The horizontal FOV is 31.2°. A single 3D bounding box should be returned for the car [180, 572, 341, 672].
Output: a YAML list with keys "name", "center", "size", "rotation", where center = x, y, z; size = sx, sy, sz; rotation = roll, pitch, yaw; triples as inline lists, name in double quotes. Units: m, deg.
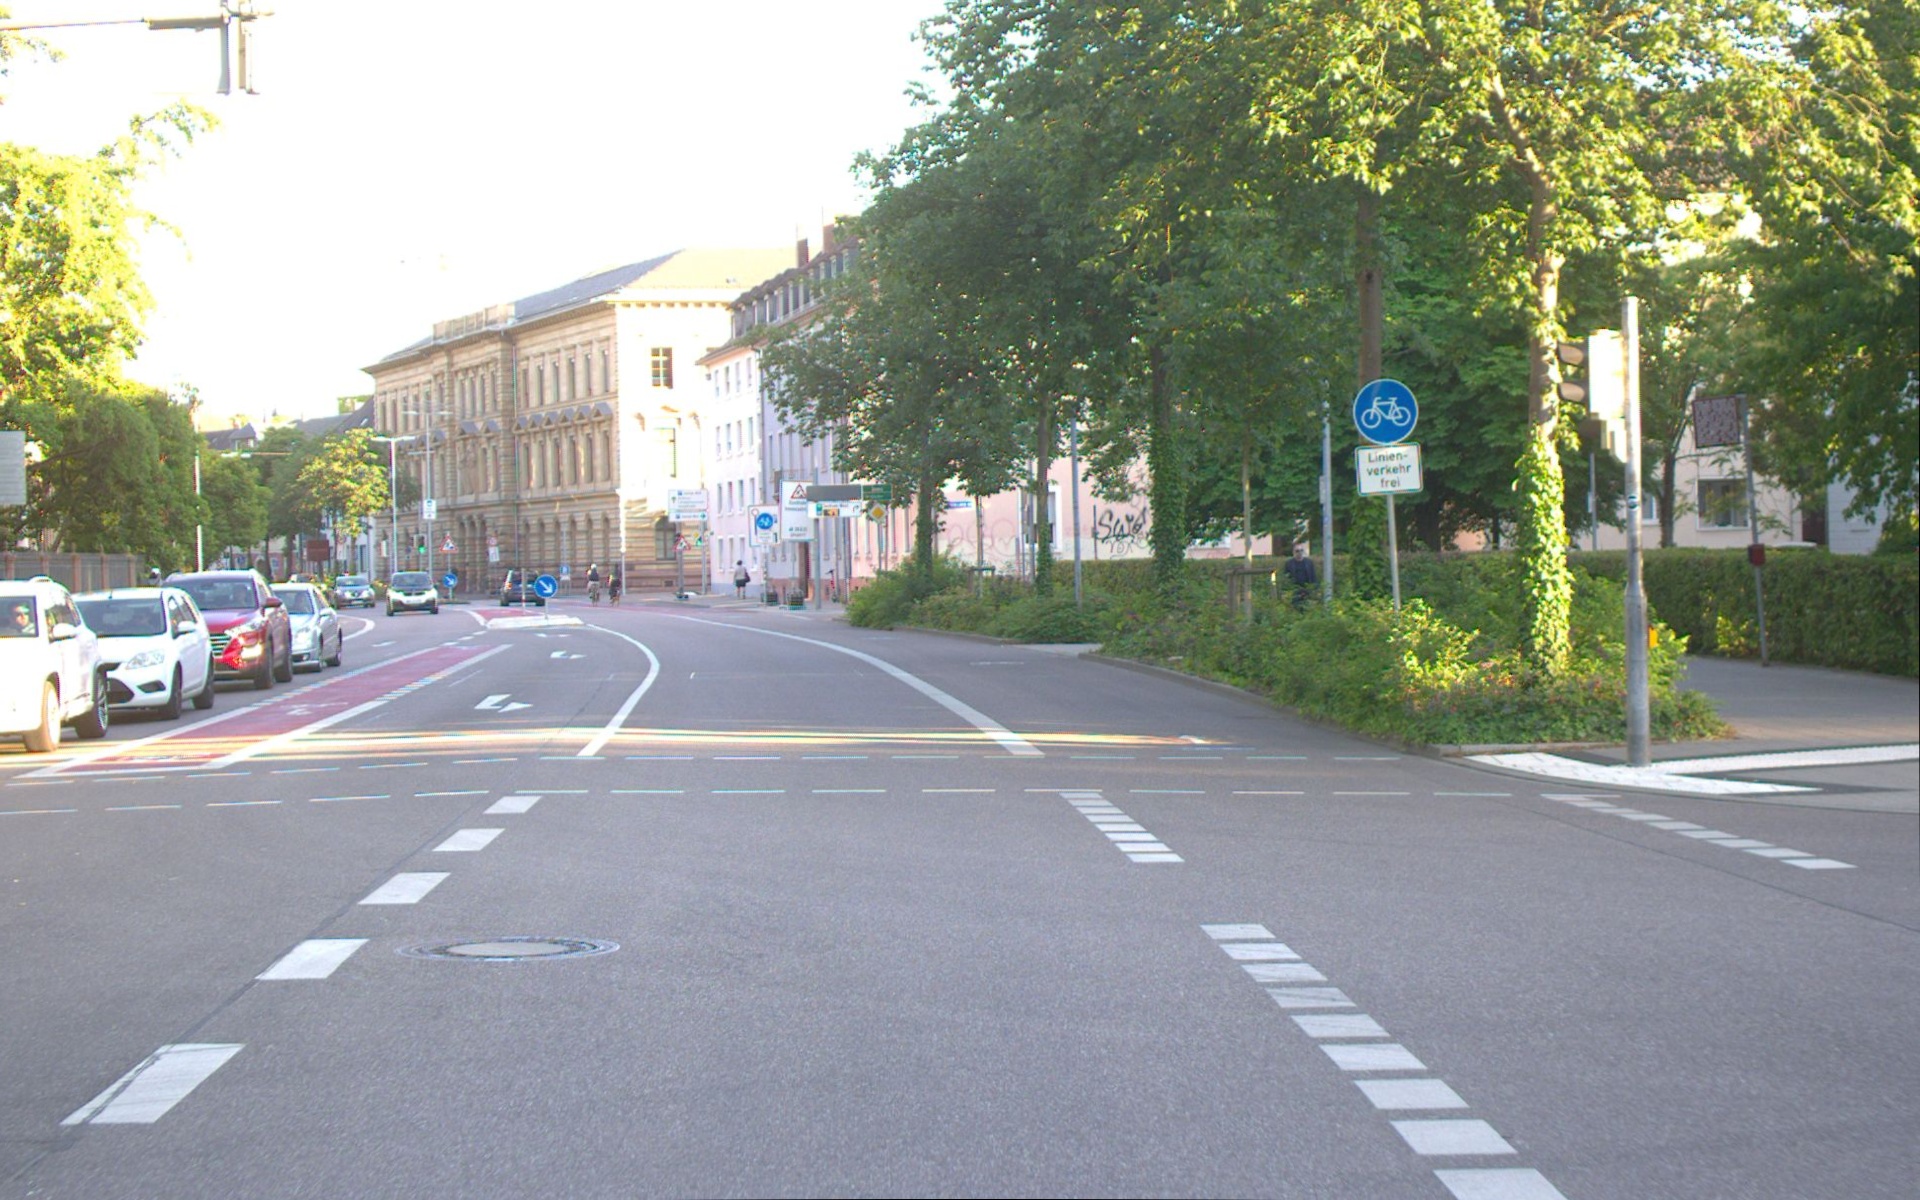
- name: "car"
  center: [-11.126, 0.313, 54.988]
  size: [1.916, 1.413, 4.771]
  rotation: [-3, 1, -5]

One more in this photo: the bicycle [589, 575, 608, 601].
- name: "bicycle"
  center: [-14.743, -0.502, 140.246]
  size: [0.652, 1.012, 2.198]
  rotation: [1, 0, -9]

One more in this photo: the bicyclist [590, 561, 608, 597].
- name: "bicyclist"
  center: [-14.727, -0.851, 140.215]
  size: [0.652, 1.441, 0.879]
  rotation: [1, 0, -9]

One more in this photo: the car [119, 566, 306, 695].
- name: "car"
  center: [-10.487, 0.391, 48.512]
  size: [1.916, 1.619, 4.640]
  rotation: [-3, 1, -5]

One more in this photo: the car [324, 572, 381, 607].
- name: "car"
  center: [-26.894, -0.442, 152.106]
  size: [1.835, 1.434, 4.001]
  rotation: [-3, 1, -19]

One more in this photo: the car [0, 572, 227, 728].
- name: "car"
  center: [-9.747, 0.522, 39.582]
  size: [1.916, 1.578, 4.675]
  rotation: [-3, 1, -5]

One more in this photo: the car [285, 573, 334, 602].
- name: "car"
  center: [-36.679, -0.714, 193.761]
  size: [1.993, 1.579, 4.001]
  rotation: [-1, 0, -21]

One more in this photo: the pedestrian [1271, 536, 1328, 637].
- name: "pedestrian"
  center: [5.922, -0.233, 60.051]
  size: [0.769, 1.733, 0.807]
  rotation: [-1, 1, -10]

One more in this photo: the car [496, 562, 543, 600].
- name: "car"
  center: [-18.271, -0.786, 142.522]
  size: [1.867, 1.505, 4.001]
  rotation: [0, 0, -8]

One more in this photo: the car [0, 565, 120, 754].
- name: "car"
  center: [-9.533, 0.557, 33.392]
  size: [1.916, 1.690, 4.427]
  rotation: [-3, 1, -5]

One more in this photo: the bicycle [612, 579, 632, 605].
- name: "bicycle"
  center: [-13.794, -0.337, 140.214]
  size: [0.652, 1.012, 2.198]
  rotation: [1, 0, -9]

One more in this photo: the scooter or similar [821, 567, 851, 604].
- name: "scooter or similar"
  center: [-4.642, -0.544, 128.505]
  size: [0.629, 1.332, 2.401]
  rotation: [-1, 0, -14]

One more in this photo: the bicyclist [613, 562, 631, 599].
- name: "bicyclist"
  center: [-13.792, -0.799, 140.215]
  size: [0.652, 1.470, 0.941]
  rotation: [1, 0, -9]

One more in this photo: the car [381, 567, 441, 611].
- name: "car"
  center: [-20.200, -0.418, 126.391]
  size: [1.848, 1.521, 4.001]
  rotation: [-3, 1, -13]

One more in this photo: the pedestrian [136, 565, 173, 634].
- name: "pedestrian"
  center: [-19.104, -0.018, 81.531]
  size: [0.681, 1.617, 0.688]
  rotation: [-1, 1, -1]
